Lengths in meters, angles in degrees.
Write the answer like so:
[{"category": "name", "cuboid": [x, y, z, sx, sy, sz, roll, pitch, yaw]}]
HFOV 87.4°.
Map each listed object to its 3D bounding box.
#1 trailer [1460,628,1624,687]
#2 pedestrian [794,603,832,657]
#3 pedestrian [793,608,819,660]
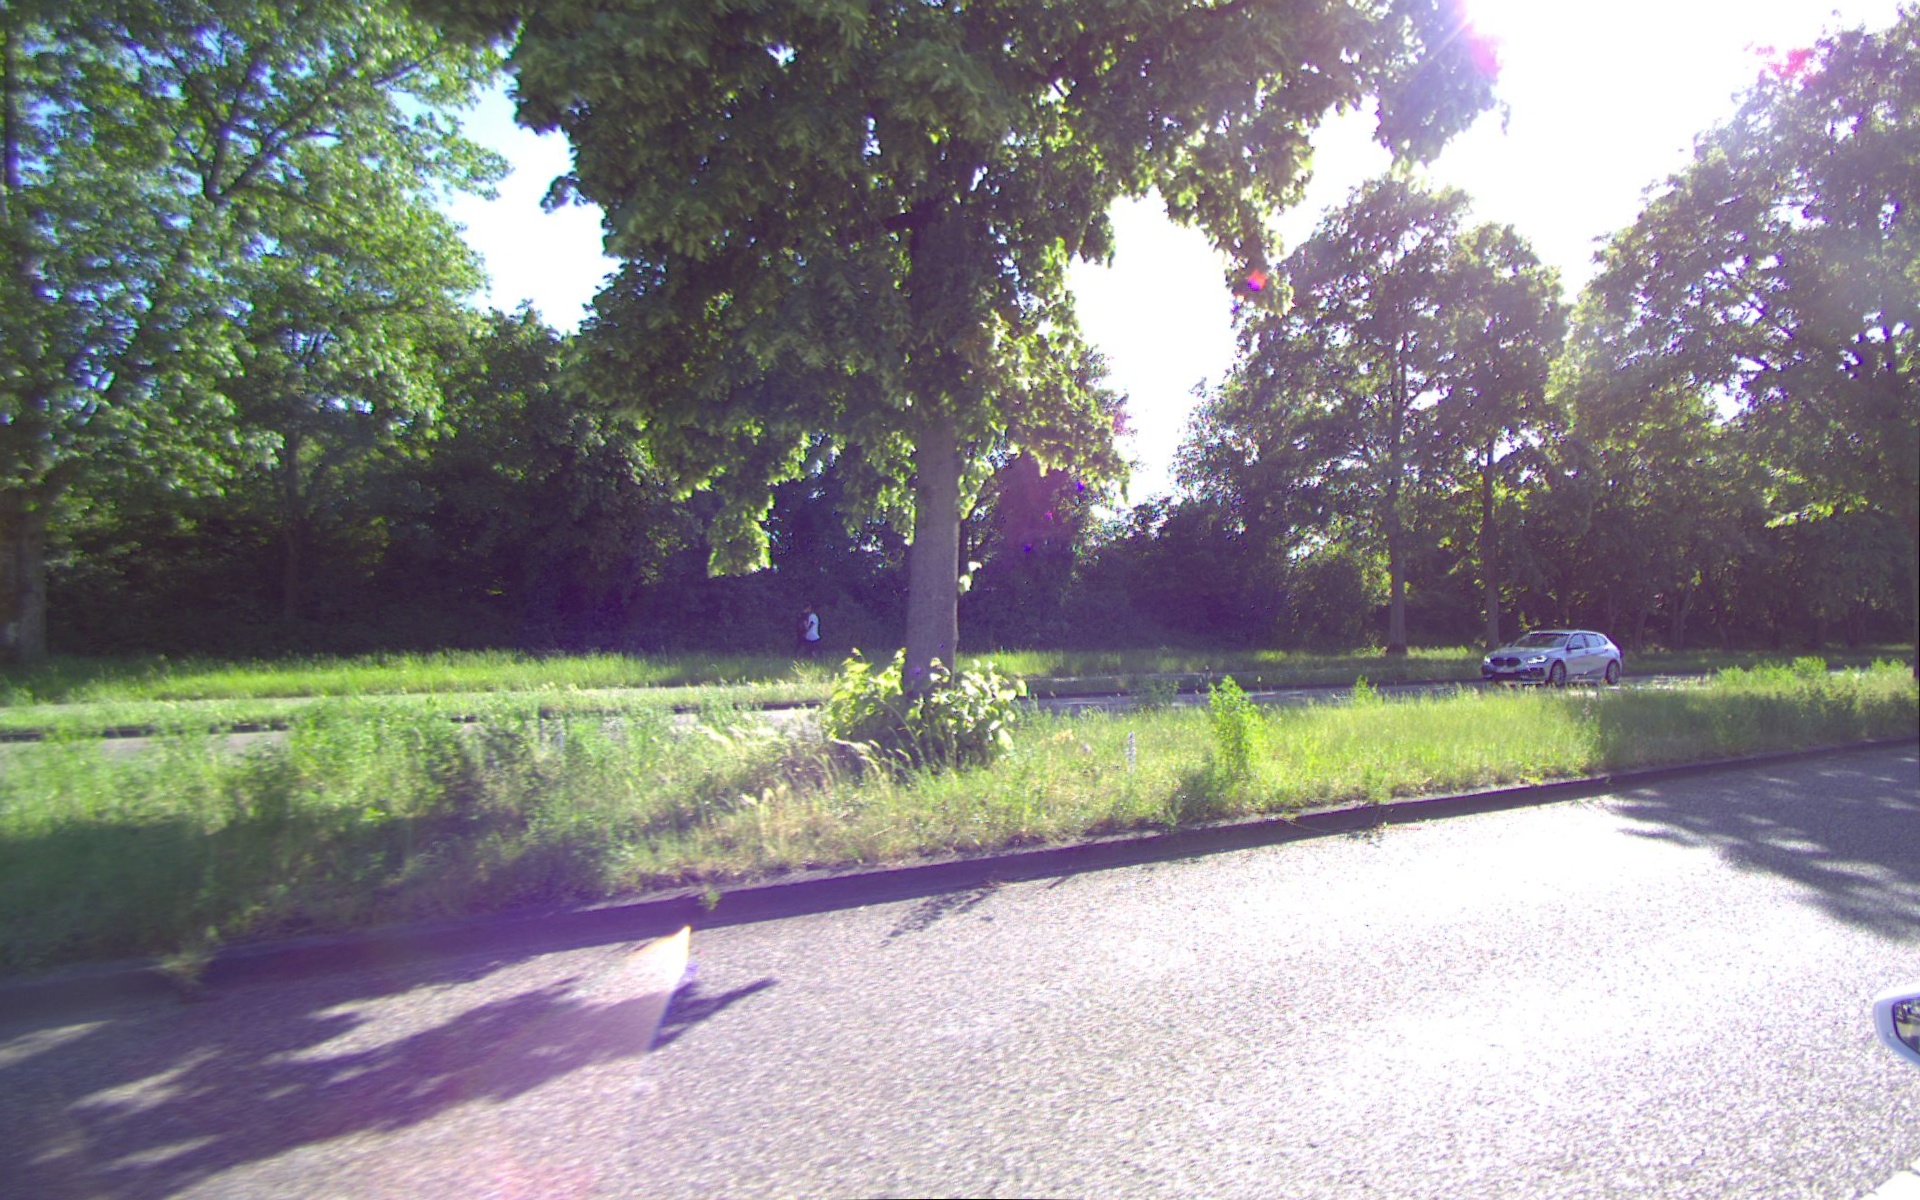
[{"category": "trailer", "cuboid": [15.339, 1.487, 26.420, 4.442, 1.443, 1.733, 1, -3, -30]}, {"category": "pedestrian", "cuboid": [-4.114, 0.844, 28.098, 0.906, 1.479, 0.542, 1, -1, -30]}, {"category": "pedestrian", "cuboid": [-4.464, 0.980, 29.070, 0.589, 1.479, 0.542, 1, -1, -30]}]
